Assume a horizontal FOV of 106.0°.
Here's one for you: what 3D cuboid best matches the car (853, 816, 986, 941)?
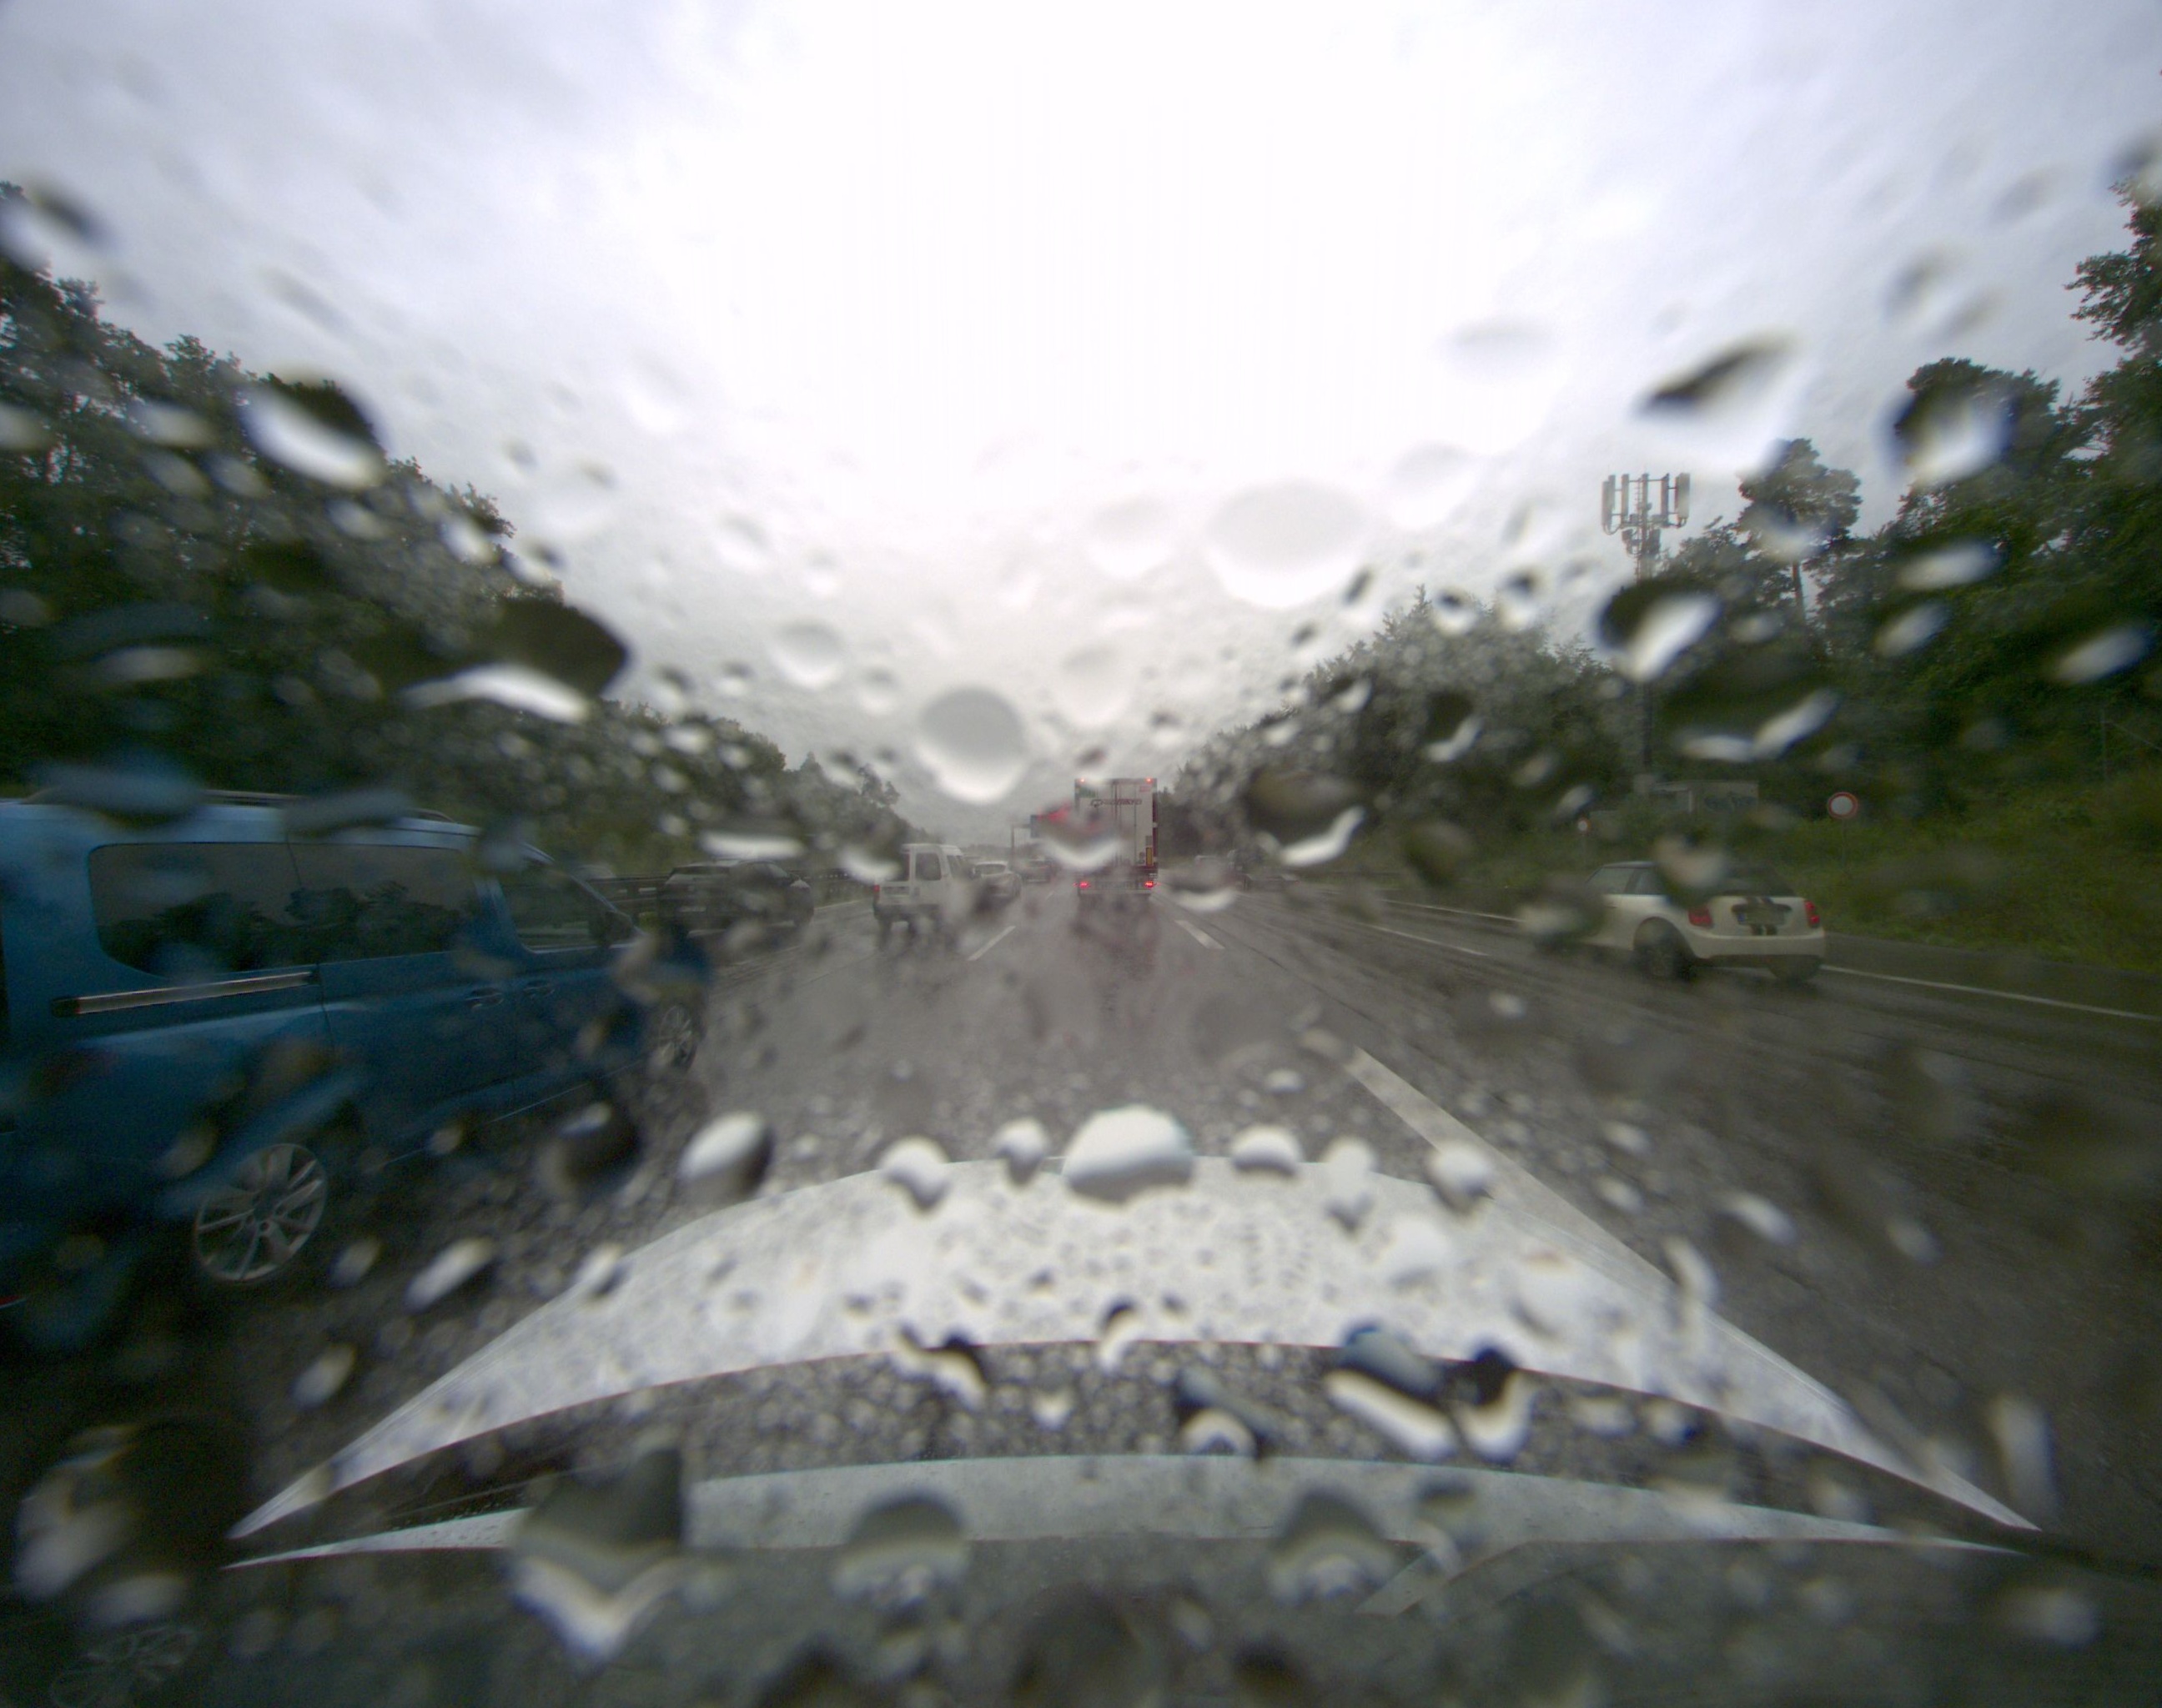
[{"bbox_3d":[-3.668,0.506,19.537,2.206,2.573,5.014,-1,0,-1],"label":"car"}]

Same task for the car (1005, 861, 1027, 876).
[{"bbox_3d":[-6.394,1.435,80.864,1.840,1.330,4.465,-1,0,0],"label":"car"}]

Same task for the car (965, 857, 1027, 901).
[{"bbox_3d":[-3.321,0.948,32.530,1.838,1.591,4.075,-1,0,3],"label":"car"}]

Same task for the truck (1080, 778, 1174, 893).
[{"bbox_3d":[1.670,-0.527,31.001,2.861,3.562,11.308,-1,-1,2],"label":"truck"}]

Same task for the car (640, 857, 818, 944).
[{"bbox_3d":[-7.391,0.884,17.642,1.839,1.591,4.467,-1,0,1],"label":"car"}]

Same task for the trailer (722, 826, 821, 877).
[{"bbox_3d":[-25.726,-0.165,68.769,3.014,3.818,13.560,-1,0,0],"label":"trailer"}]

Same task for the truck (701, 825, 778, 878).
[{"bbox_3d":[-25.809,-0.192,61.907,3.009,3.818,6.265,-1,0,1],"label":"truck"}]

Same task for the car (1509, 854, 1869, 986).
[{"bbox_3d":[7.713,0.718,10.964,1.784,1.407,4.230,-1,0,2],"label":"car"}]

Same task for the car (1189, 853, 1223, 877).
[{"bbox_3d":[8.751,0.769,57.327,1.981,1.583,4.772,-1,0,4],"label":"car"}]

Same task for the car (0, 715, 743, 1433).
[{"bbox_3d":[-3.904,0.593,3.781,2.259,1.912,5.021,-1,0,4],"label":"car"}]

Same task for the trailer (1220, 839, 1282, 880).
[{"bbox_3d":[7.562,0.216,36.734,2.232,1.714,5.090,-1,0,6],"label":"trailer"}]

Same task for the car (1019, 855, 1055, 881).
[{"bbox_3d":[-2.774,0.850,52.587,1.838,1.591,4.470,-1,0,3],"label":"car"}]
